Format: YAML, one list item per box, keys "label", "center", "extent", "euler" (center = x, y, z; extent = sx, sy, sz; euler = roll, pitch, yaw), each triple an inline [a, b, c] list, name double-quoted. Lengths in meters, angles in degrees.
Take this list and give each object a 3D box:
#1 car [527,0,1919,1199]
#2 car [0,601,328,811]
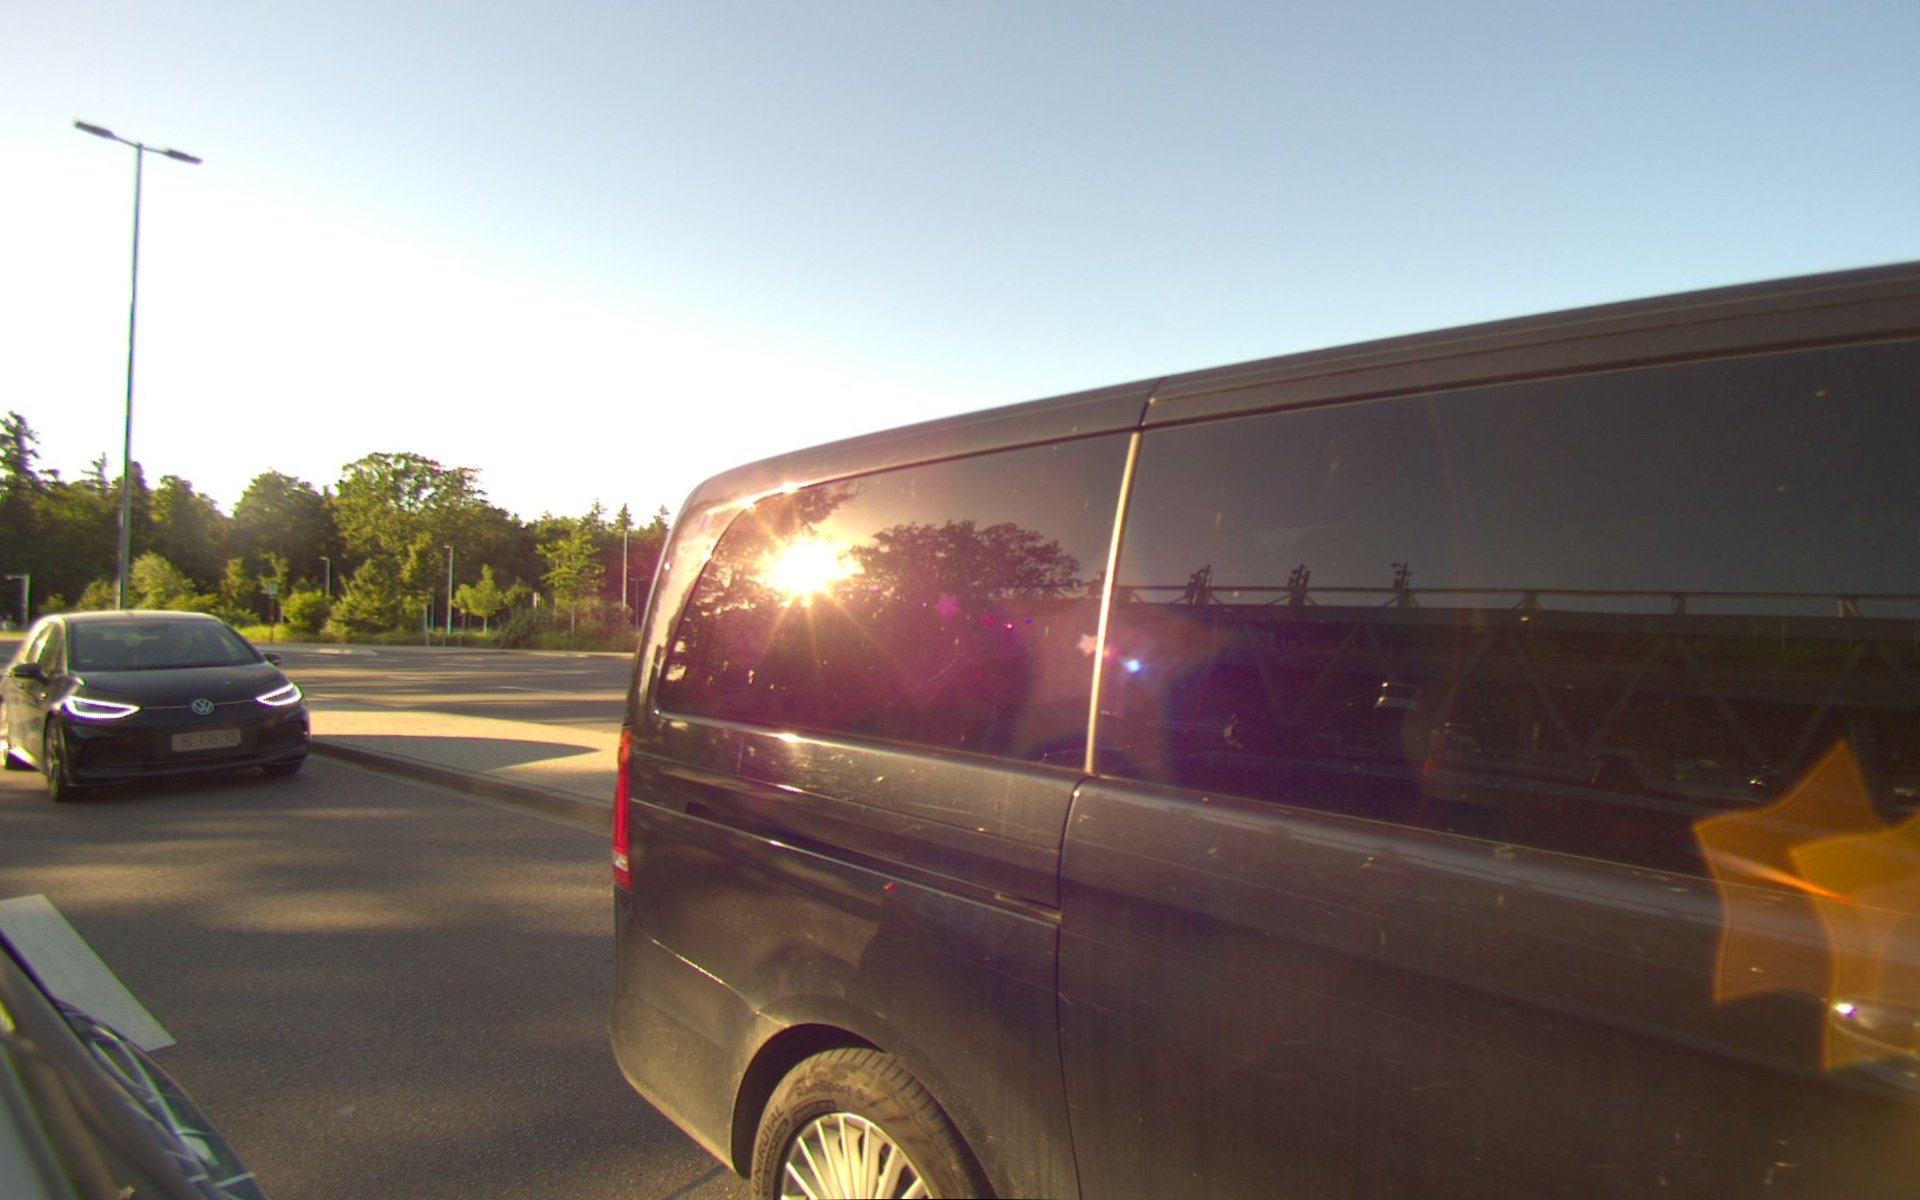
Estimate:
- label: "car"
  center: [1.498, 0.272, 1.455]
  extent: [4.869, 1.870, 1.888]
  euler: [-5, -3, 40]
- label: "car"
  center: [-7.725, 0.810, 9.552]
  extent: [3.997, 1.548, 1.859]
  euler: [-1, 0, 40]
